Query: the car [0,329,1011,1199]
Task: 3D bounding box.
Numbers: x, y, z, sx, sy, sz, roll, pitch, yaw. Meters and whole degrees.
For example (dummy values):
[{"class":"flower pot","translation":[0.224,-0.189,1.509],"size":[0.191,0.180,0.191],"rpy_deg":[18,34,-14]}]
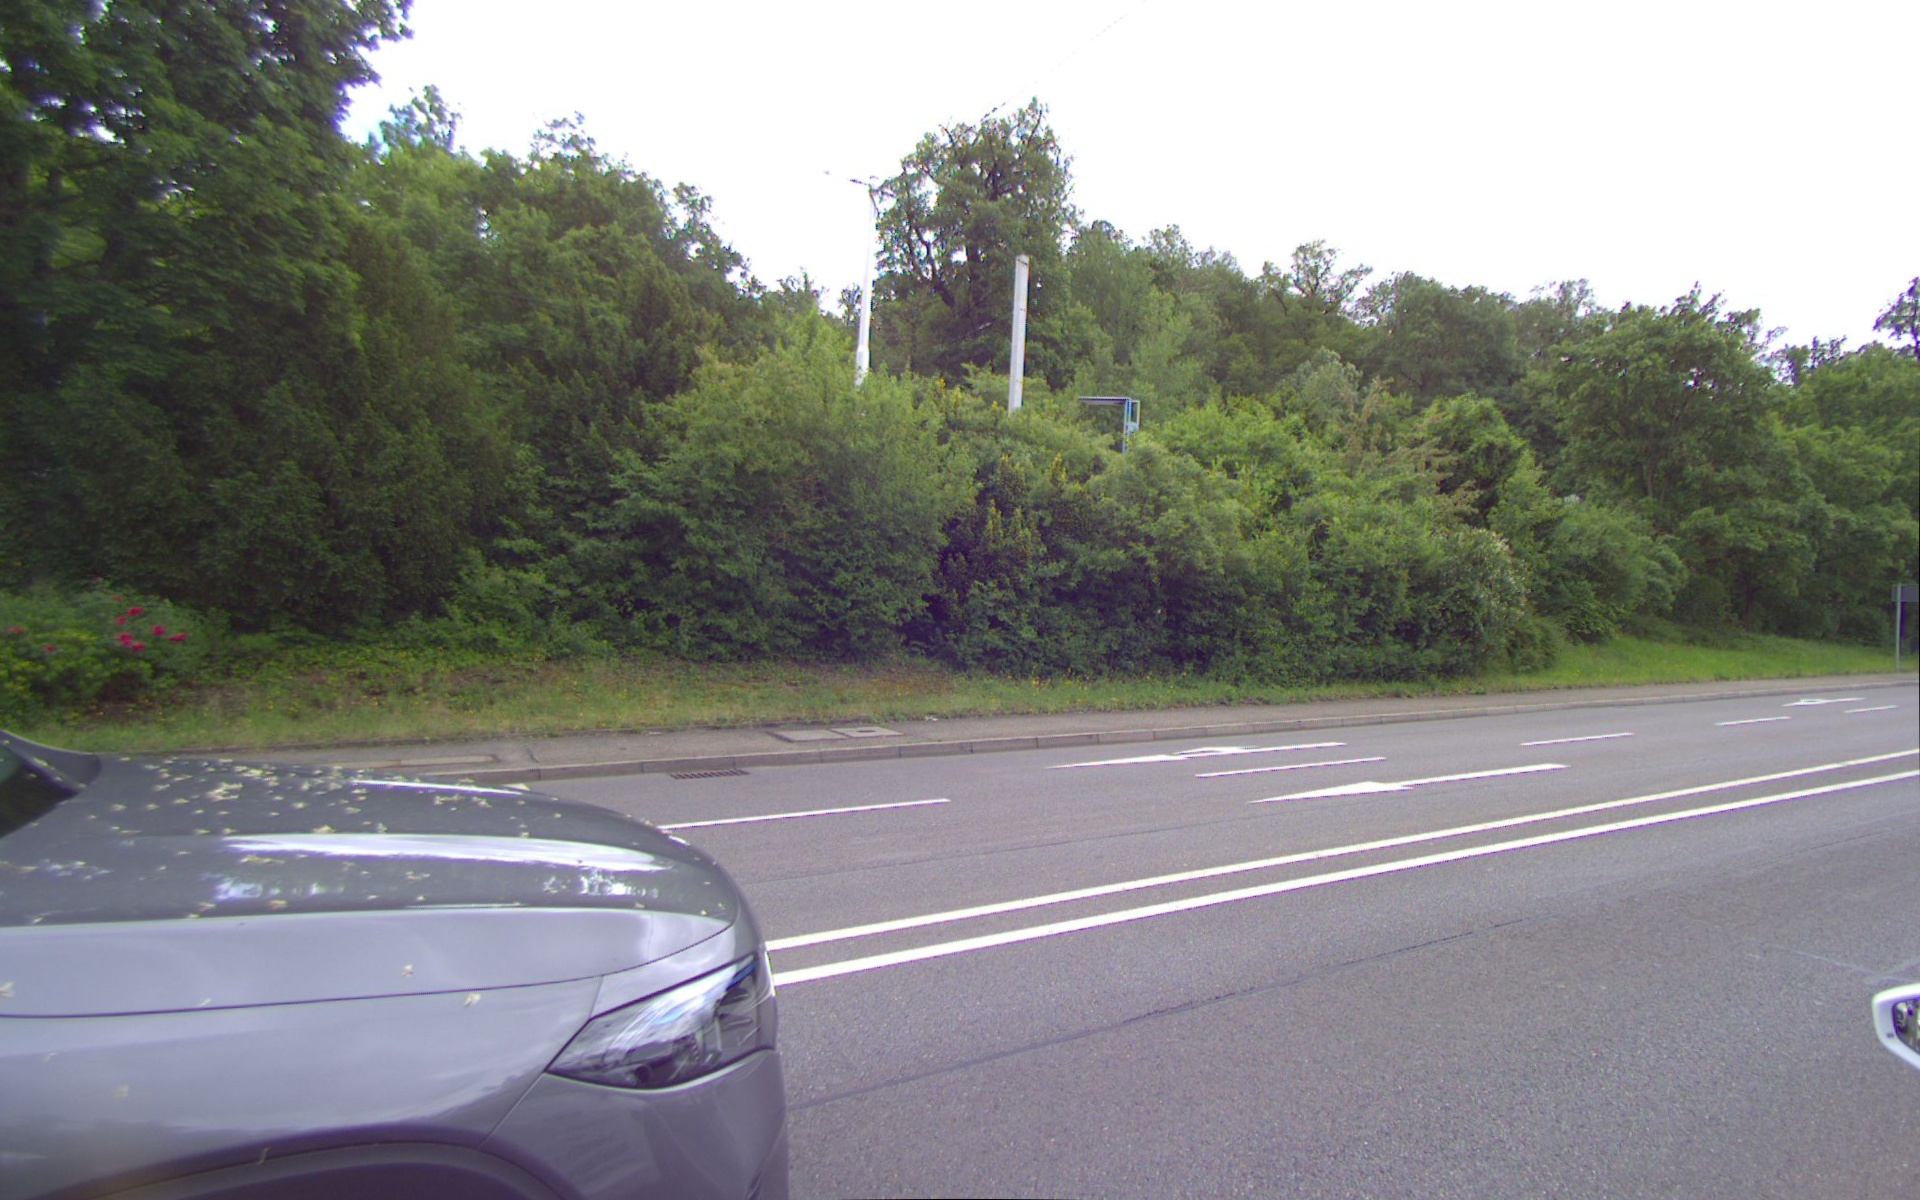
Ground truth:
[{"class":"car","translation":[-2.232,0.566,1.176],"size":[4.309,1.673,1.839],"rpy_deg":[1,-1,-32]}]
